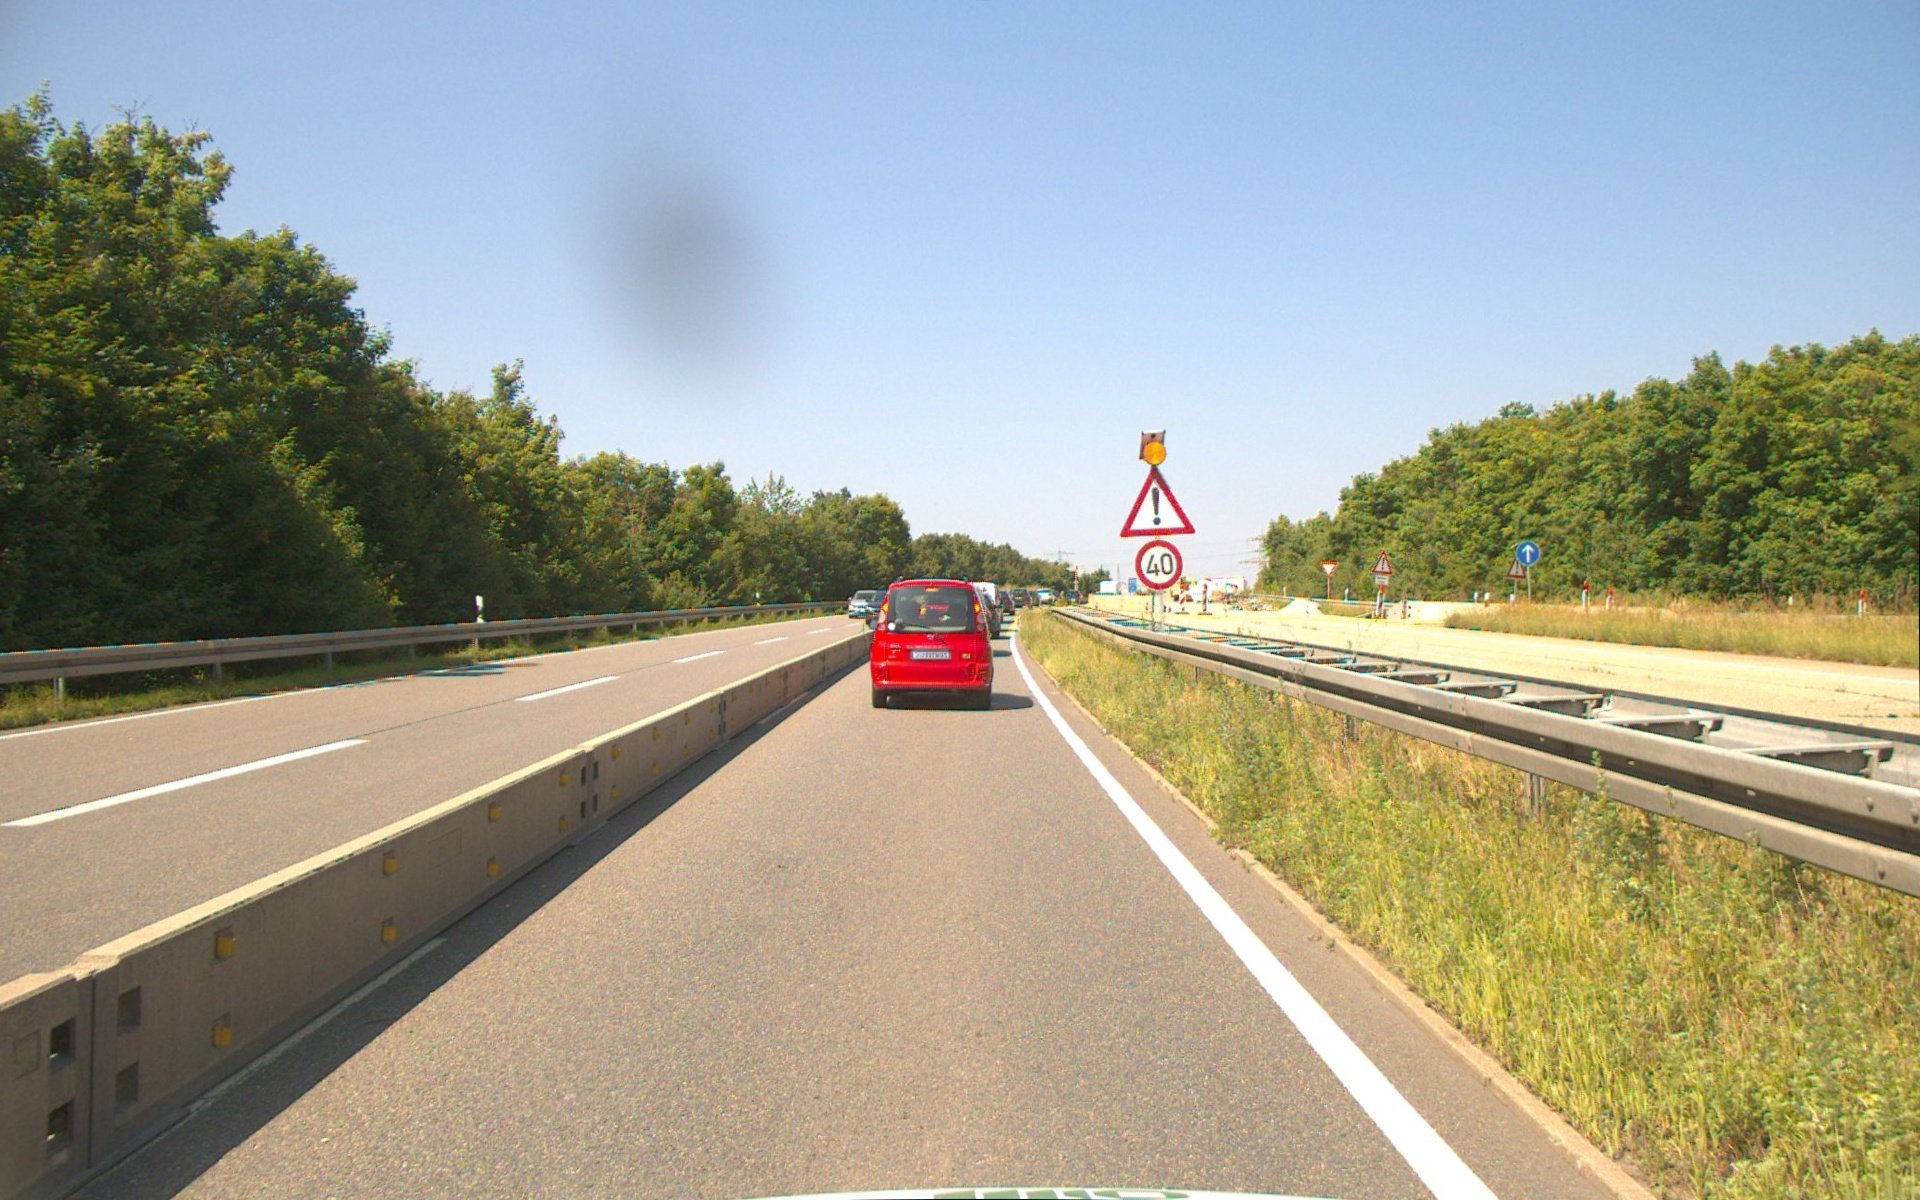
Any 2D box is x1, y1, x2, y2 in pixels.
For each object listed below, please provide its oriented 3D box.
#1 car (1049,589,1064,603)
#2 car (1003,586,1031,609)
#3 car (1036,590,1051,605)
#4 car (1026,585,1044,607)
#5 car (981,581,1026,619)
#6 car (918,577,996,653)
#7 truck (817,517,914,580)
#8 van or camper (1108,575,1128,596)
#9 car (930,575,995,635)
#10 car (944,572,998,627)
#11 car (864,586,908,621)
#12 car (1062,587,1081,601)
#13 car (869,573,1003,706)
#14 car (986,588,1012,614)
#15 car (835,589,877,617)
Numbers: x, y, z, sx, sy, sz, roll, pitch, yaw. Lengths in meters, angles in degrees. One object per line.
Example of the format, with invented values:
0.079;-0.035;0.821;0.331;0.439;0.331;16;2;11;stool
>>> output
9.862;-0.414;169.004;1.470;1.476;3.171;-1;0;4;car
4.186;-0.196;121.433;1.952;1.612;4.002;0;0;3;car
7.743;-0.226;153.167;1.391;1.321;2.880;0;0;4;car
6.235;-0.363;137.406;1.470;1.767;3.171;0;0;2;car
2.071;0.008;79.702;1.953;1.780;3.999;0;0;-2;car
-0.081;0.337;40.474;1.793;1.752;4.000;0;0;0;car
-8.594;-4.646;151.057;8.440;5.469;3.390;-1;0;3;truck
21.982;-2.001;230.661;2.280;2.754;4.592;-1;0;-1;van or camper
0.120;0.153;53.770;1.952;1.870;4.001;0;0;2;car
0.406;-0.013;63.655;1.953;2.038;3.999;1;0;-1;car
-3.254;0.142;73.364;1.785;1.508;4.255;0;0;-1;car
12.989;-0.670;193.010;1.952;1.579;4.001;0;0;1;car
-0.381;0.497;23.196;1.716;1.702;3.998;0;0;-2;car
2.279;0.043;97.014;1.471;1.476;3.326;0;0;1;car
-5.546;0.162;88.334;1.908;1.446;4.353;0;0;0;car
